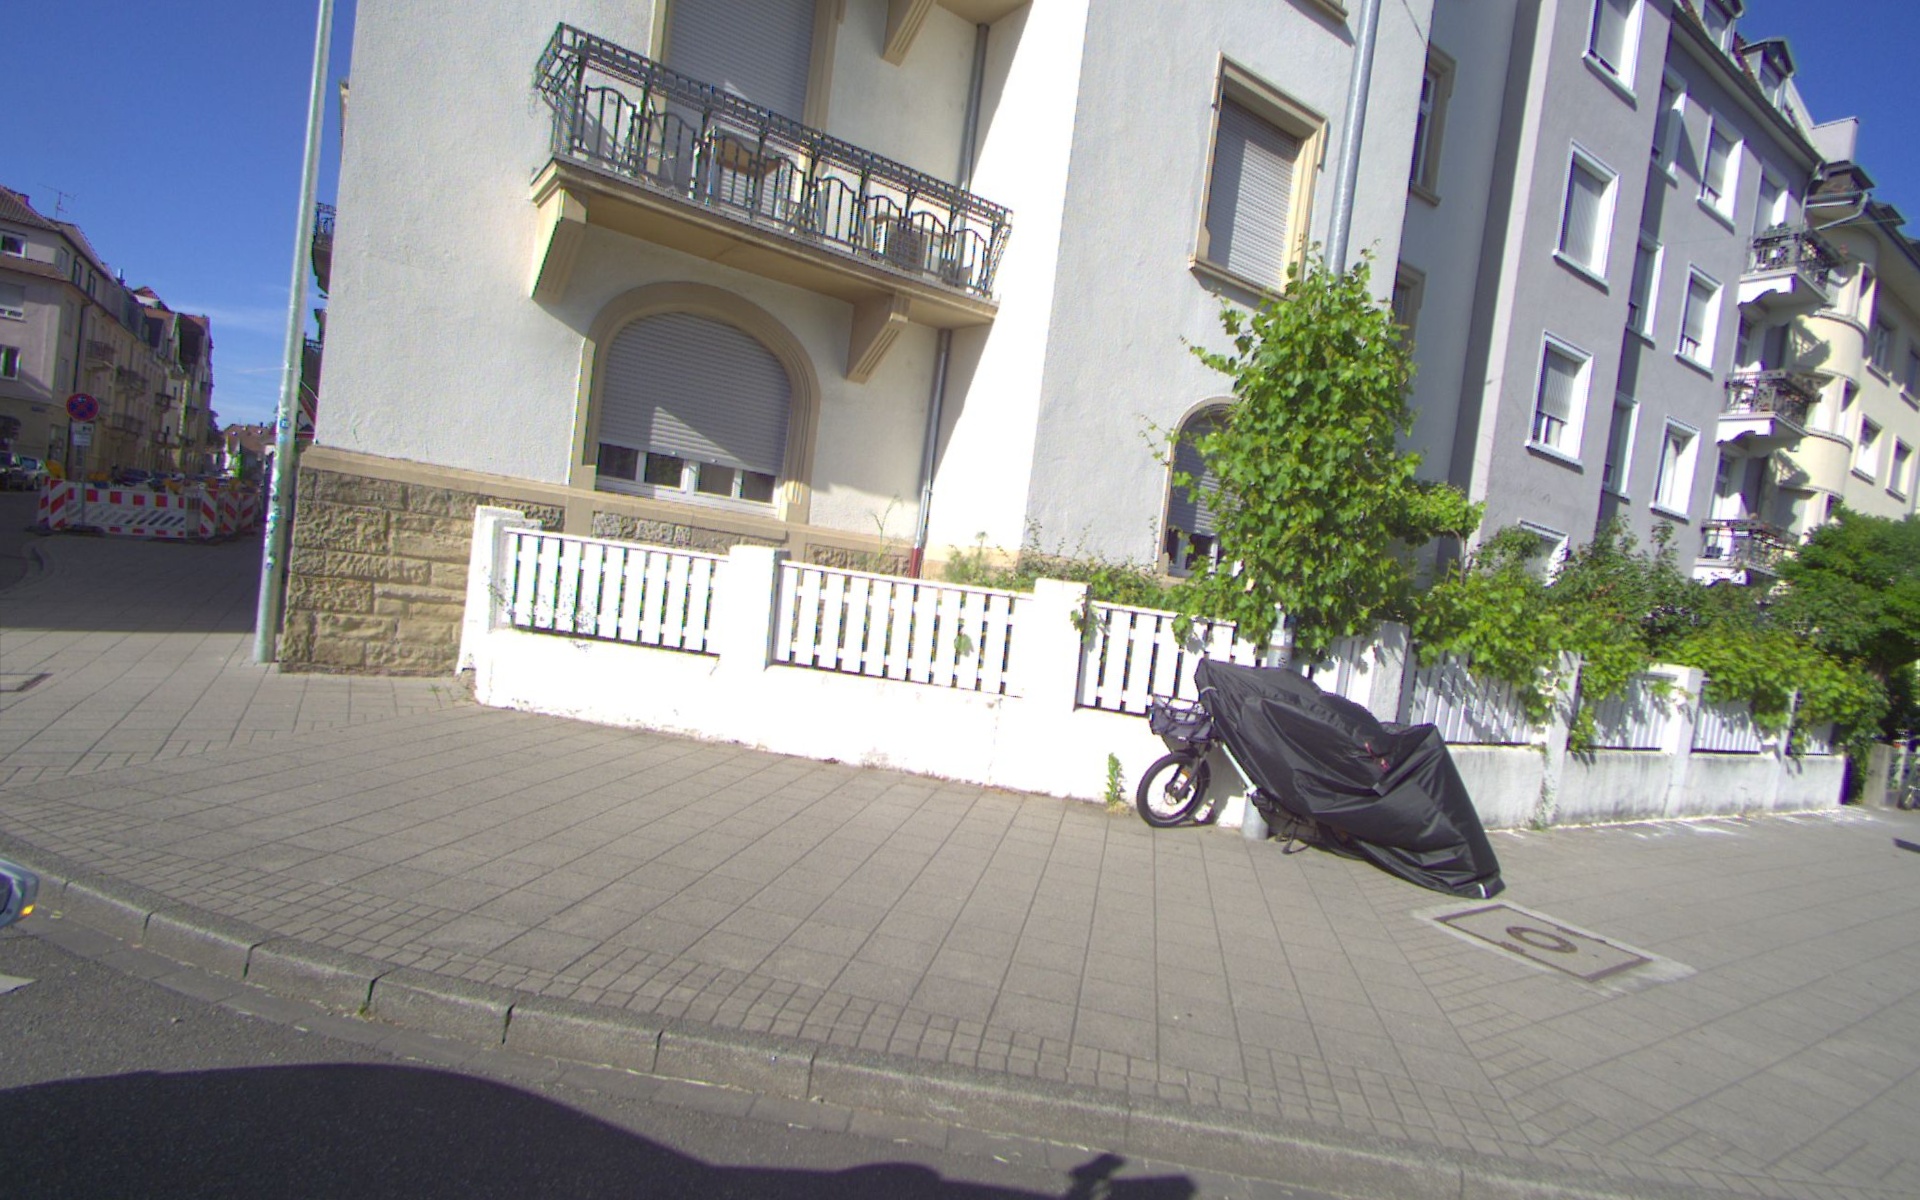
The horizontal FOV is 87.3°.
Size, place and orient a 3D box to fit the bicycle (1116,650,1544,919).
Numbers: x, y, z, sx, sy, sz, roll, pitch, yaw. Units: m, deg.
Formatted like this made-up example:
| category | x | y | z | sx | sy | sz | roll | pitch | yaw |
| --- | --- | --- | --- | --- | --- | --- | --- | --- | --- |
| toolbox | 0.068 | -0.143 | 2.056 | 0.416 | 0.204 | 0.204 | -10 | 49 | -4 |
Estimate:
| category | x | y | z | sx | sy | sz | roll | pitch | yaw |
| --- | --- | --- | --- | --- | --- | --- | --- | --- | --- |
| bicycle | 2.178 | 1.071 | 6.242 | 2.243 | 1.172 | 0.767 | 8 | 1 | 10 |

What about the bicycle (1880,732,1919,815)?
| category | x | y | z | sx | sy | sz | roll | pitch | yaw |
| --- | --- | --- | --- | --- | --- | --- | --- | --- | --- |
| bicycle | 14.173 | 2.534 | 14.492 | 2.233 | 1.073 | 0.677 | 7 | 2 | -32 |

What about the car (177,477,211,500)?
| category | x | y | z | sx | sy | sz | roll | pitch | yaw |
| --- | --- | --- | --- | --- | --- | --- | --- | --- | --- |
| car | -71.068 | -10.288 | 93.357 | 1.992 | 1.638 | 4.446 | 9 | -1 | -33 |

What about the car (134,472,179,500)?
| category | x | y | z | sx | sy | sz | roll | pitch | yaw |
| --- | --- | --- | --- | --- | --- | --- | --- | --- | --- |
| car | -60.237 | -8.508 | 75.469 | 1.992 | 1.600 | 4.446 | 9 | -1 | -33 |

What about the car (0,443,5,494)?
| category | x | y | z | sx | sy | sz | roll | pitch | yaw |
| --- | --- | --- | --- | --- | --- | --- | --- | --- | --- |
| car | -34.748 | -4.693 | 34.567 | 1.751 | 1.949 | 4.890 | 7 | 1 | -33 |

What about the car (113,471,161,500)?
| category | x | y | z | sx | sy | sz | roll | pitch | yaw |
| --- | --- | --- | --- | --- | --- | --- | --- | --- | --- |
| car | -54.730 | -7.612 | 66.930 | 1.668 | 1.443 | 4.239 | 9 | -1 | -31 |

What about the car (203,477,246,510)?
| category | x | y | z | sx | sy | sz | roll | pitch | yaw |
| --- | --- | --- | --- | --- | --- | --- | --- | --- | --- |
| car | -53.236 | -7.656 | 72.909 | 1.991 | 1.936 | 4.448 | 9 | -1 | -32 |

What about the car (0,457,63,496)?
| category | x | y | z | sx | sy | sz | roll | pitch | yaw |
| --- | --- | --- | --- | --- | --- | --- | --- | --- | --- |
| car | -40.686 | -5.361 | 43.659 | 1.751 | 1.394 | 4.439 | 8 | 1 | -32 |

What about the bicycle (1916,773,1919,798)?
| category | x | y | z | sx | sy | sz | roll | pitch | yaw |
| --- | --- | --- | --- | --- | --- | --- | --- | --- | --- |
| bicycle | 18.294 | 3.131 | 18.297 | 2.233 | 1.073 | 0.677 | 7 | 2 | -32 |

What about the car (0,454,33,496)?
| category | x | y | z | sx | sy | sz | roll | pitch | yaw |
| --- | --- | --- | --- | --- | --- | --- | --- | --- | --- |
| car | -37.678 | -4.932 | 39.048 | 1.751 | 1.522 | 3.962 | 6 | 2 | -34 |
